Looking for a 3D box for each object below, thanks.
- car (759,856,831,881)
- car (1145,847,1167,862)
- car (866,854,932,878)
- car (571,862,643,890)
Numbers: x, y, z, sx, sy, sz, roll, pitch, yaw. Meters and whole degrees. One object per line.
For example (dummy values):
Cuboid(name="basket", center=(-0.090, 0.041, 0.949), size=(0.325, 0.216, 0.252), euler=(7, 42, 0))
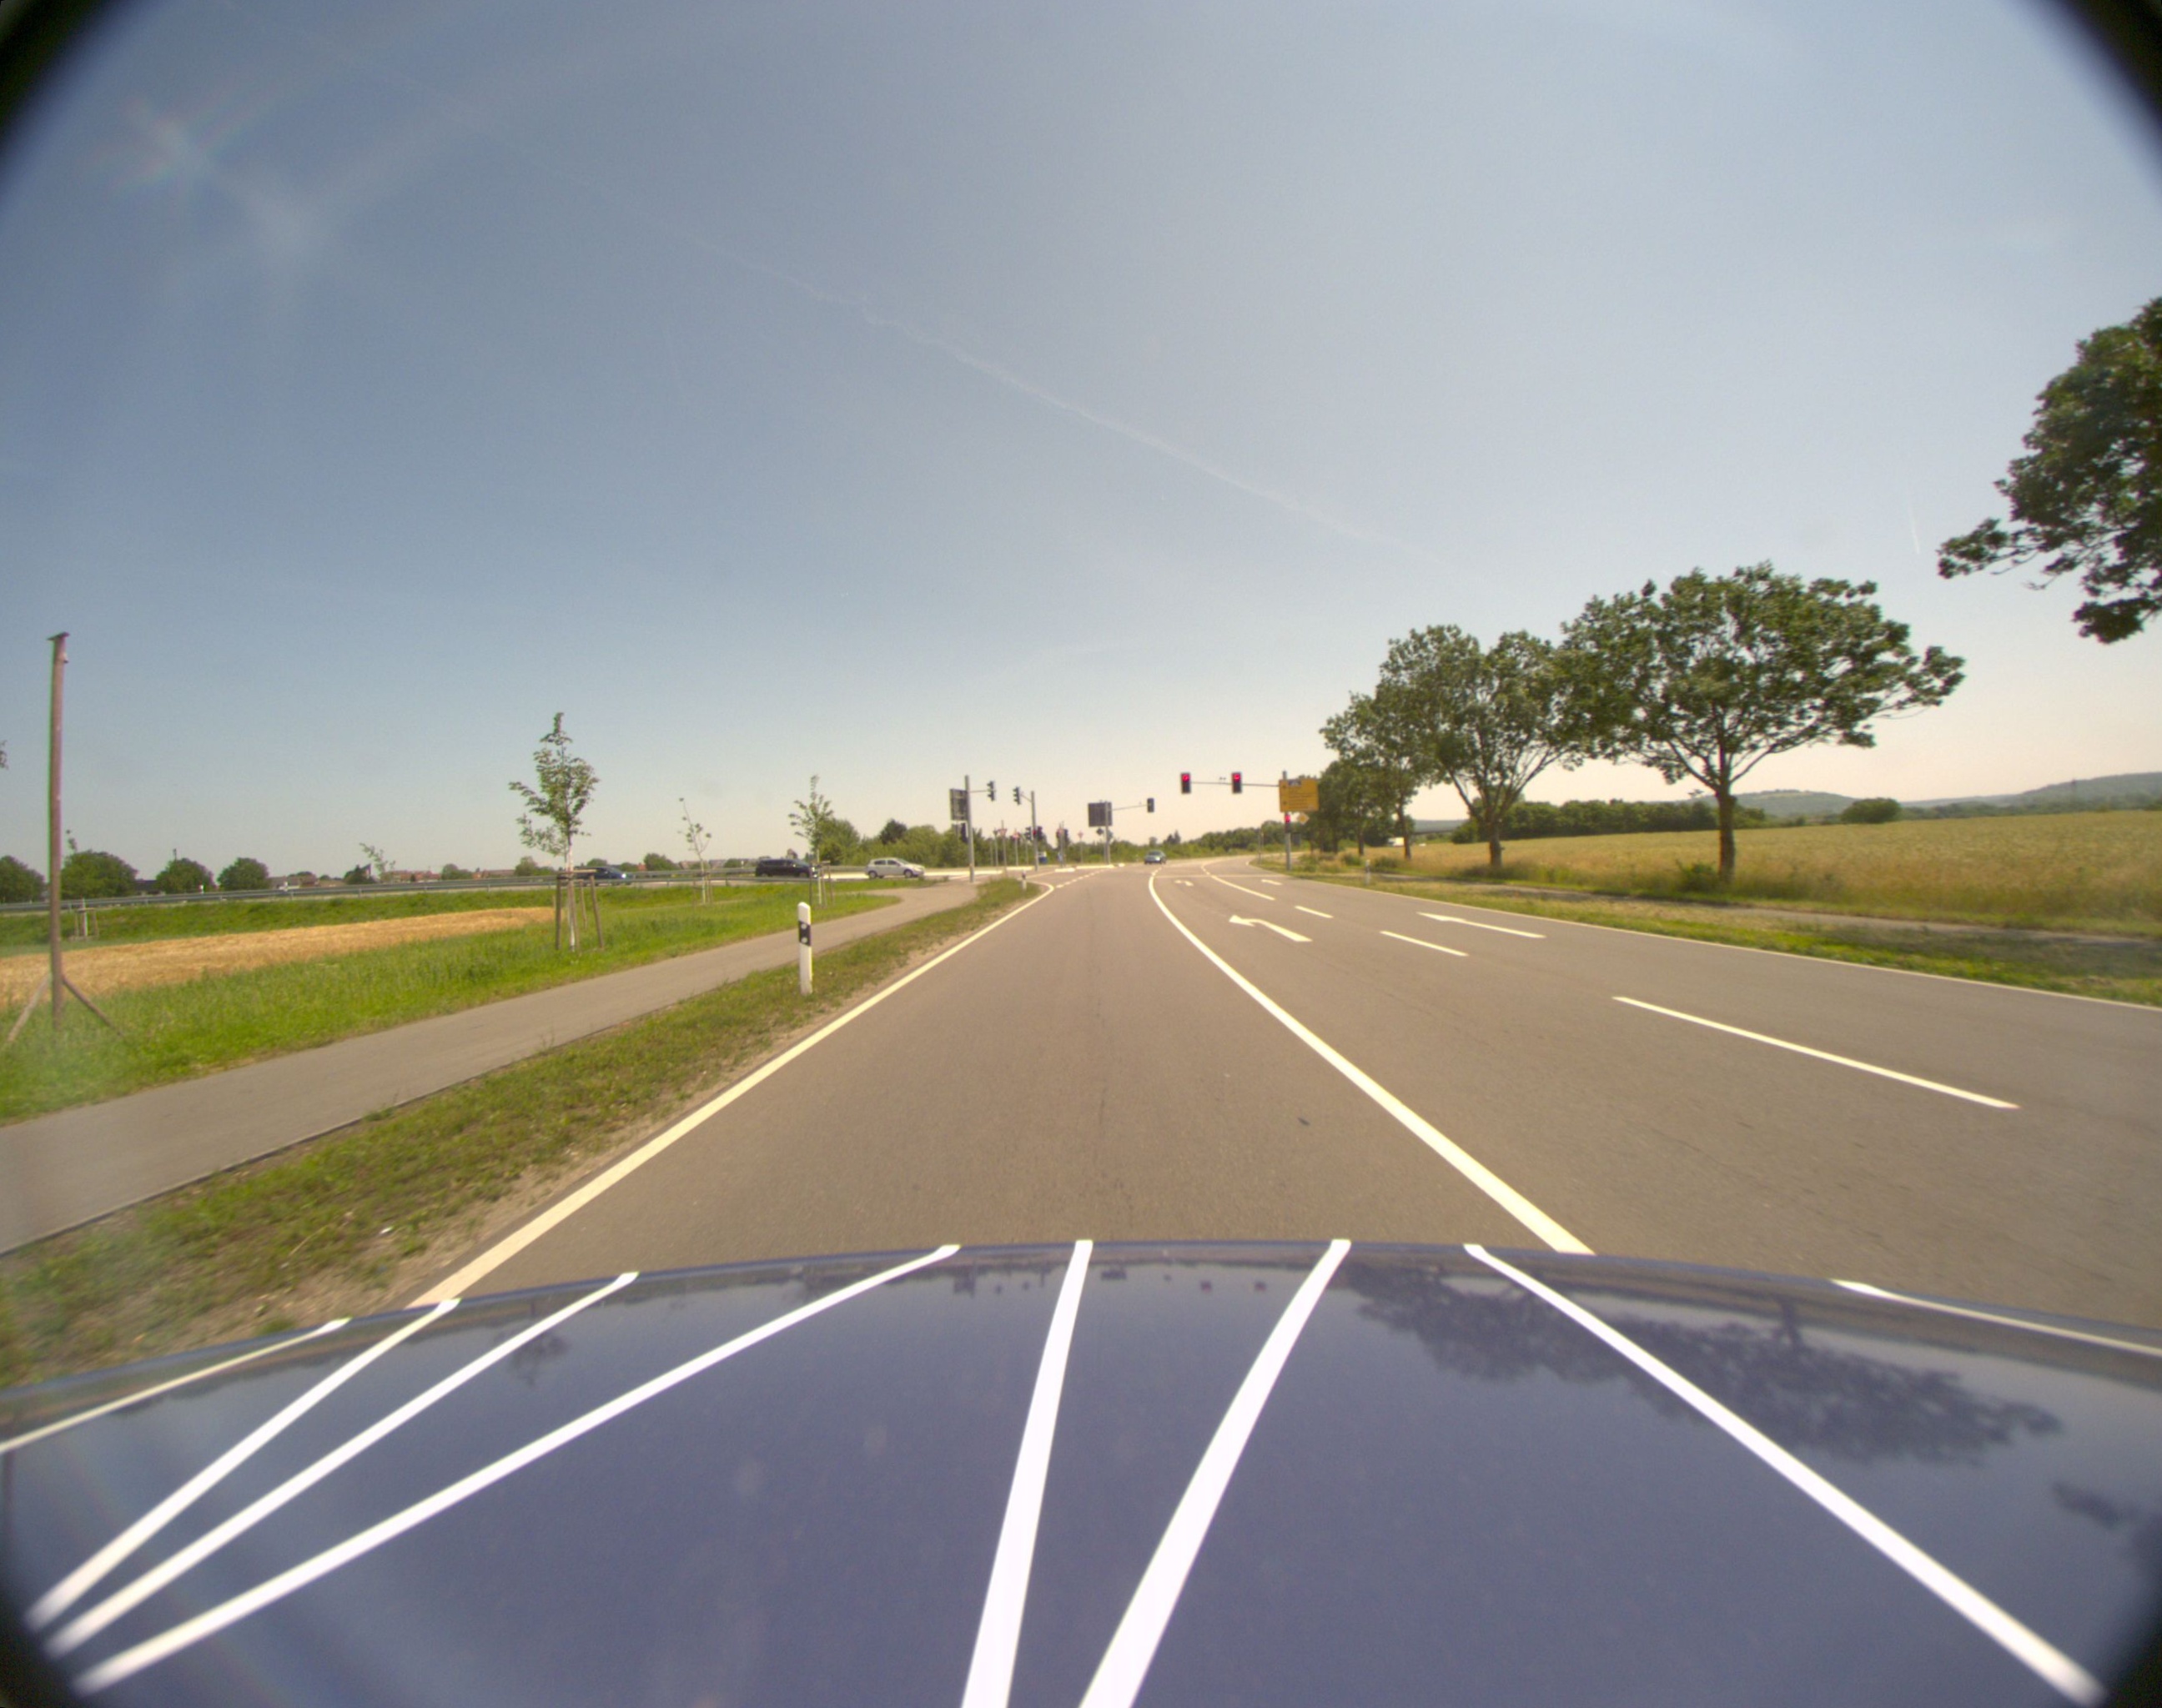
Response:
Cuboid(name="car", center=(-20.702, 1.040, 55.052), size=(4.521, 1.631, 1.814), euler=(-2, 2, 7))
Cuboid(name="car", center=(7.788, 0.028, 78.696), size=(1.655, 1.557, 4.004), euler=(-1, 0, 14))
Cuboid(name="car", center=(-12.975, 0.853, 54.222), size=(4.147, 1.451, 1.661), euler=(-2, 1, 7))
Cuboid(name="car", center=(-34.831, 1.592, 55.908), size=(3.920, 1.797, 1.918), euler=(-3, 1, -10))
